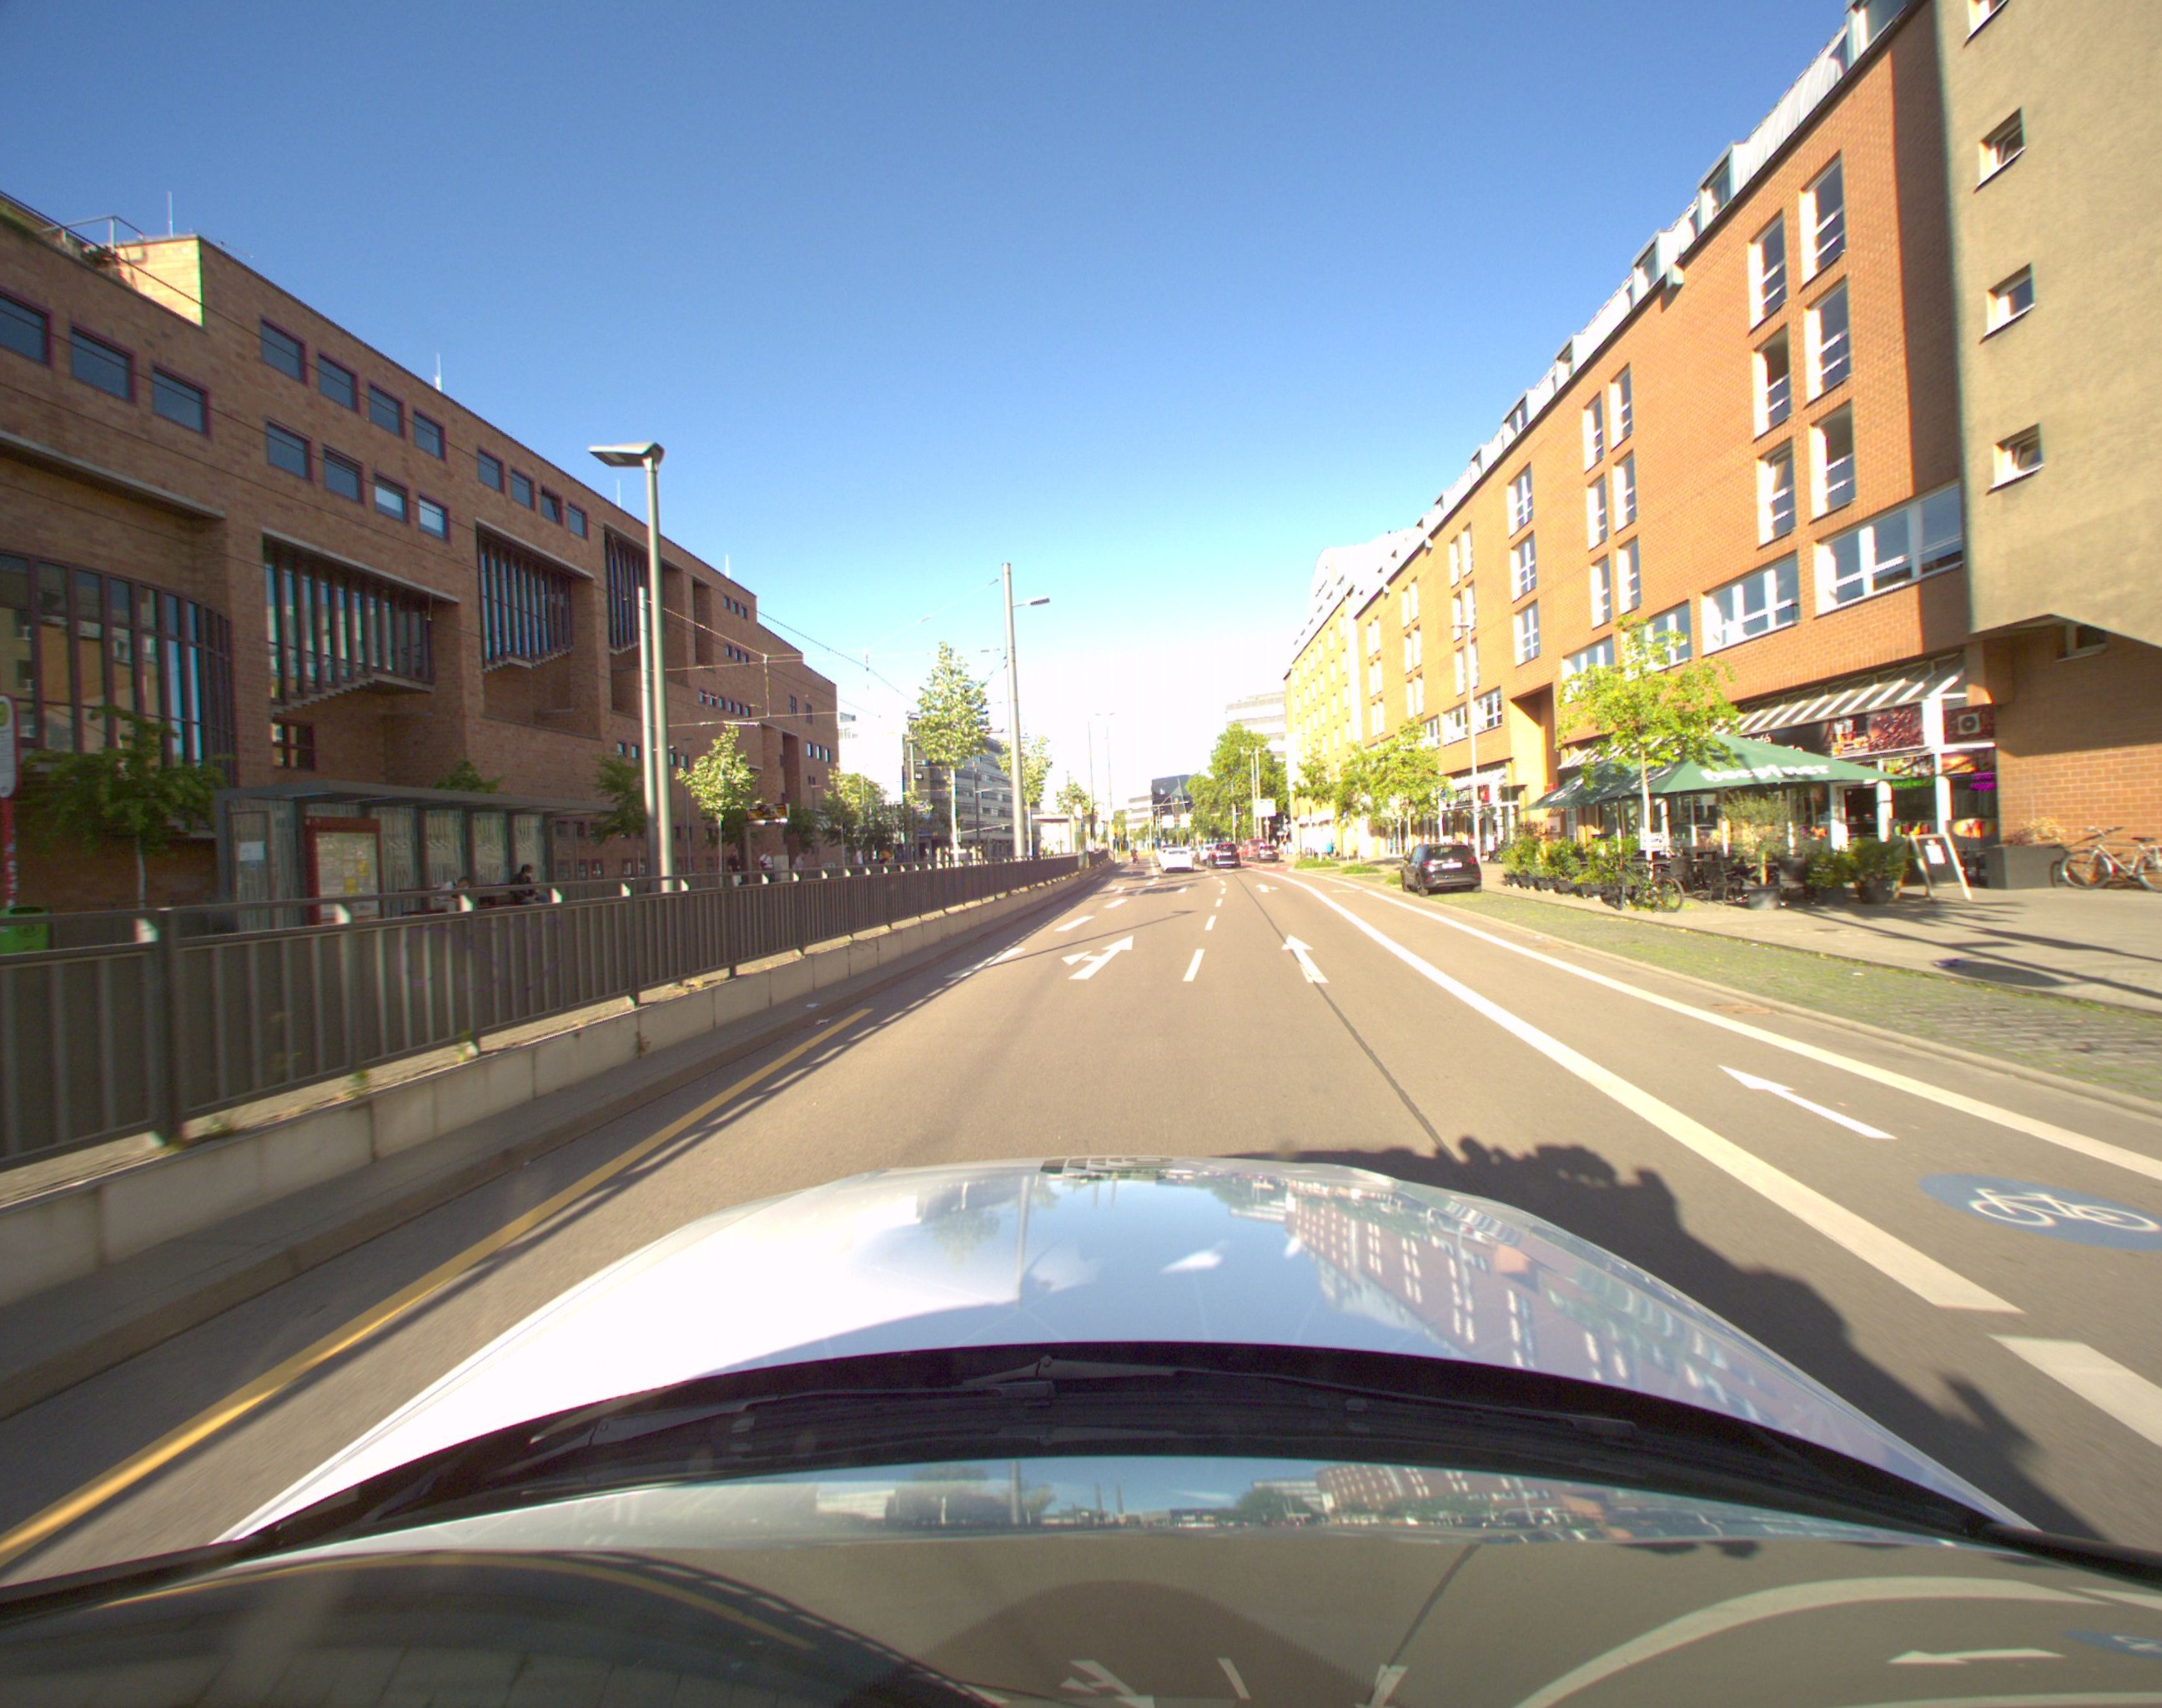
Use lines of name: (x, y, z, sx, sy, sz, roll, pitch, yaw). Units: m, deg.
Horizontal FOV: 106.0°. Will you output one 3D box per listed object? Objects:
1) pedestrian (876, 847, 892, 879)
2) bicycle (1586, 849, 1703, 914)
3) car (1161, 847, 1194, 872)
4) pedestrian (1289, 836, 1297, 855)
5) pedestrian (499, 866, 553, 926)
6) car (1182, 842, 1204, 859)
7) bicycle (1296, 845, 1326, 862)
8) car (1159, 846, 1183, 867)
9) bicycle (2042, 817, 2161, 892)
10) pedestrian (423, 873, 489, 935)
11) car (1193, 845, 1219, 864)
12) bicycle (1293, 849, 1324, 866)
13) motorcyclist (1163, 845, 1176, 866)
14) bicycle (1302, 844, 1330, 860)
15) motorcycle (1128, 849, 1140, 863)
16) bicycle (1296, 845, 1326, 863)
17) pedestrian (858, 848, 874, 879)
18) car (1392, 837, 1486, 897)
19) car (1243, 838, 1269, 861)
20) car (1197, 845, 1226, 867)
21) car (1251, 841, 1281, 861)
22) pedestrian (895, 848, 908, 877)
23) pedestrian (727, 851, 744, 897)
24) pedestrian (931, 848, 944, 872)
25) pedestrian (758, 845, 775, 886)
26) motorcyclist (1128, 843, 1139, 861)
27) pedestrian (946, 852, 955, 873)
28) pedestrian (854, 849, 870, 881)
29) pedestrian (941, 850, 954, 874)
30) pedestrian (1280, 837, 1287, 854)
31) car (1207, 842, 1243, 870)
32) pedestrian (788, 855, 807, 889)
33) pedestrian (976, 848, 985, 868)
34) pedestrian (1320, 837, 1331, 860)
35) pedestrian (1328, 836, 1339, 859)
pedestrian: (-10.514, 0.461, 43.514, 0.637, 1.695, 0.541, -1, 0, 5)
bicycle: (10.759, 0.502, 15.656, 0.763, 1.081, 1.998, -8, -1, 1)
car: (5.833, 0.319, 49.617, 1.772, 1.414, 4.825, -1, 1, 4)
pedestrian: (21.112, -0.825, 81.080, 0.603, 1.821, 0.749, -3, 0, 4)
pedestrian: (-12.883, 0.967, 18.918, 0.643, 1.309, 0.722, -5, 0, 4)
car: (10.951, -0.357, 79.651, 1.842, 1.497, 4.385, -2, 1, 4)
bicycle: (15.817, -0.026, 56.099, 1.930, 1.075, 0.557, -4, 0, 15)
car: (7.003, 0.173, 63.650, 1.685, 1.496, 4.415, -1, 1, 5)
bicycle: (17.572, -0.006, 13.847, 0.611, 1.169, 1.537, -4, 0, 1)
pedestrian: (-12.938, 1.024, 16.875, 0.718, 1.168, 0.722, -5, 0, 4)
car: (10.617, -0.020, 69.603, 1.842, 1.497, 4.385, -2, 1, 4)
bicycle: (15.354, 0.252, 54.902, 1.928, 1.022, 0.504, -4, 0, 21)
motorcyclist: (6.340, 0.105, 58.253, 0.834, 1.475, 1.237, -3, 0, 3)
bicycle: (17.005, -0.153, 58.929, 1.930, 1.074, 0.628, -4, 0, 16)
motorcycle: (4.884, 0.163, 75.346, 1.014, 1.312, 2.919, -1, 1, 5)
bicycle: (15.965, -0.022, 56.611, 1.930, 1.137, 0.493, -4, 0, 15)
pedestrian: (-11.704, 0.511, 44.435, 0.620, 1.612, 0.617, -2, 0, 5)
car: (11.127, 0.350, 25.598, 1.710, 1.636, 4.244, -3, 0, 11)
car: (15.686, -0.432, 73.181, 1.851, 1.961, 4.007, -3, 0, 6)
car: (9.986, 0.140, 62.607, 1.842, 1.639, 4.384, -1, 0, 4)
car: (15.135, -0.235, 66.852, 1.838, 1.560, 4.639, -1, 1, 5)
pedestrian: (-10.979, 0.495, 49.932, 0.579, 1.738, 0.617, -2, 0, 5)
pedestrian: (-12.687, 0.734, 29.902, 0.376, 1.648, 0.416, -1, 0, 5)
pedestrian: (-9.807, 0.417, 55.823, 0.637, 1.608, 0.947, -1, 0, 5)
pedestrian: (-12.568, 0.456, 32.555, 0.376, 1.621, 0.554, -1, 0, 5)
motorcyclist: (4.878, -0.205, 75.397, 1.014, 1.603, 1.150, -1, 0, 5)
pedestrian: (-10.572, 0.681, 66.036, 0.560, 1.609, 0.617, -2, 0, 5)
pedestrian: (-11.776, 0.576, 43.733, 0.620, 1.714, 0.617, -2, 0, 5)
pedestrian: (-9.126, 0.527, 55.792, 0.637, 1.643, 0.947, -1, 0, 5)
pedestrian: (21.538, -0.881, 86.592, 0.603, 1.821, 0.749, -3, 0, 4)
car: (9.682, 0.106, 54.958, 1.965, 1.759, 4.639, -1, 1, 5)
pedestrian: (-12.295, 0.768, 35.370, 0.536, 1.459, 0.643, -1, 0, 5)
pedestrian: (-9.268, 0.342, 75.211, 0.611, 1.817, 0.898, -2, 0, 5)
pedestrian: (19.678, -0.473, 65.577, 0.603, 1.821, 0.749, -3, 0, 4)
pedestrian: (20.530, -0.505, 66.138, 0.603, 1.821, 0.749, -3, 0, 4)
